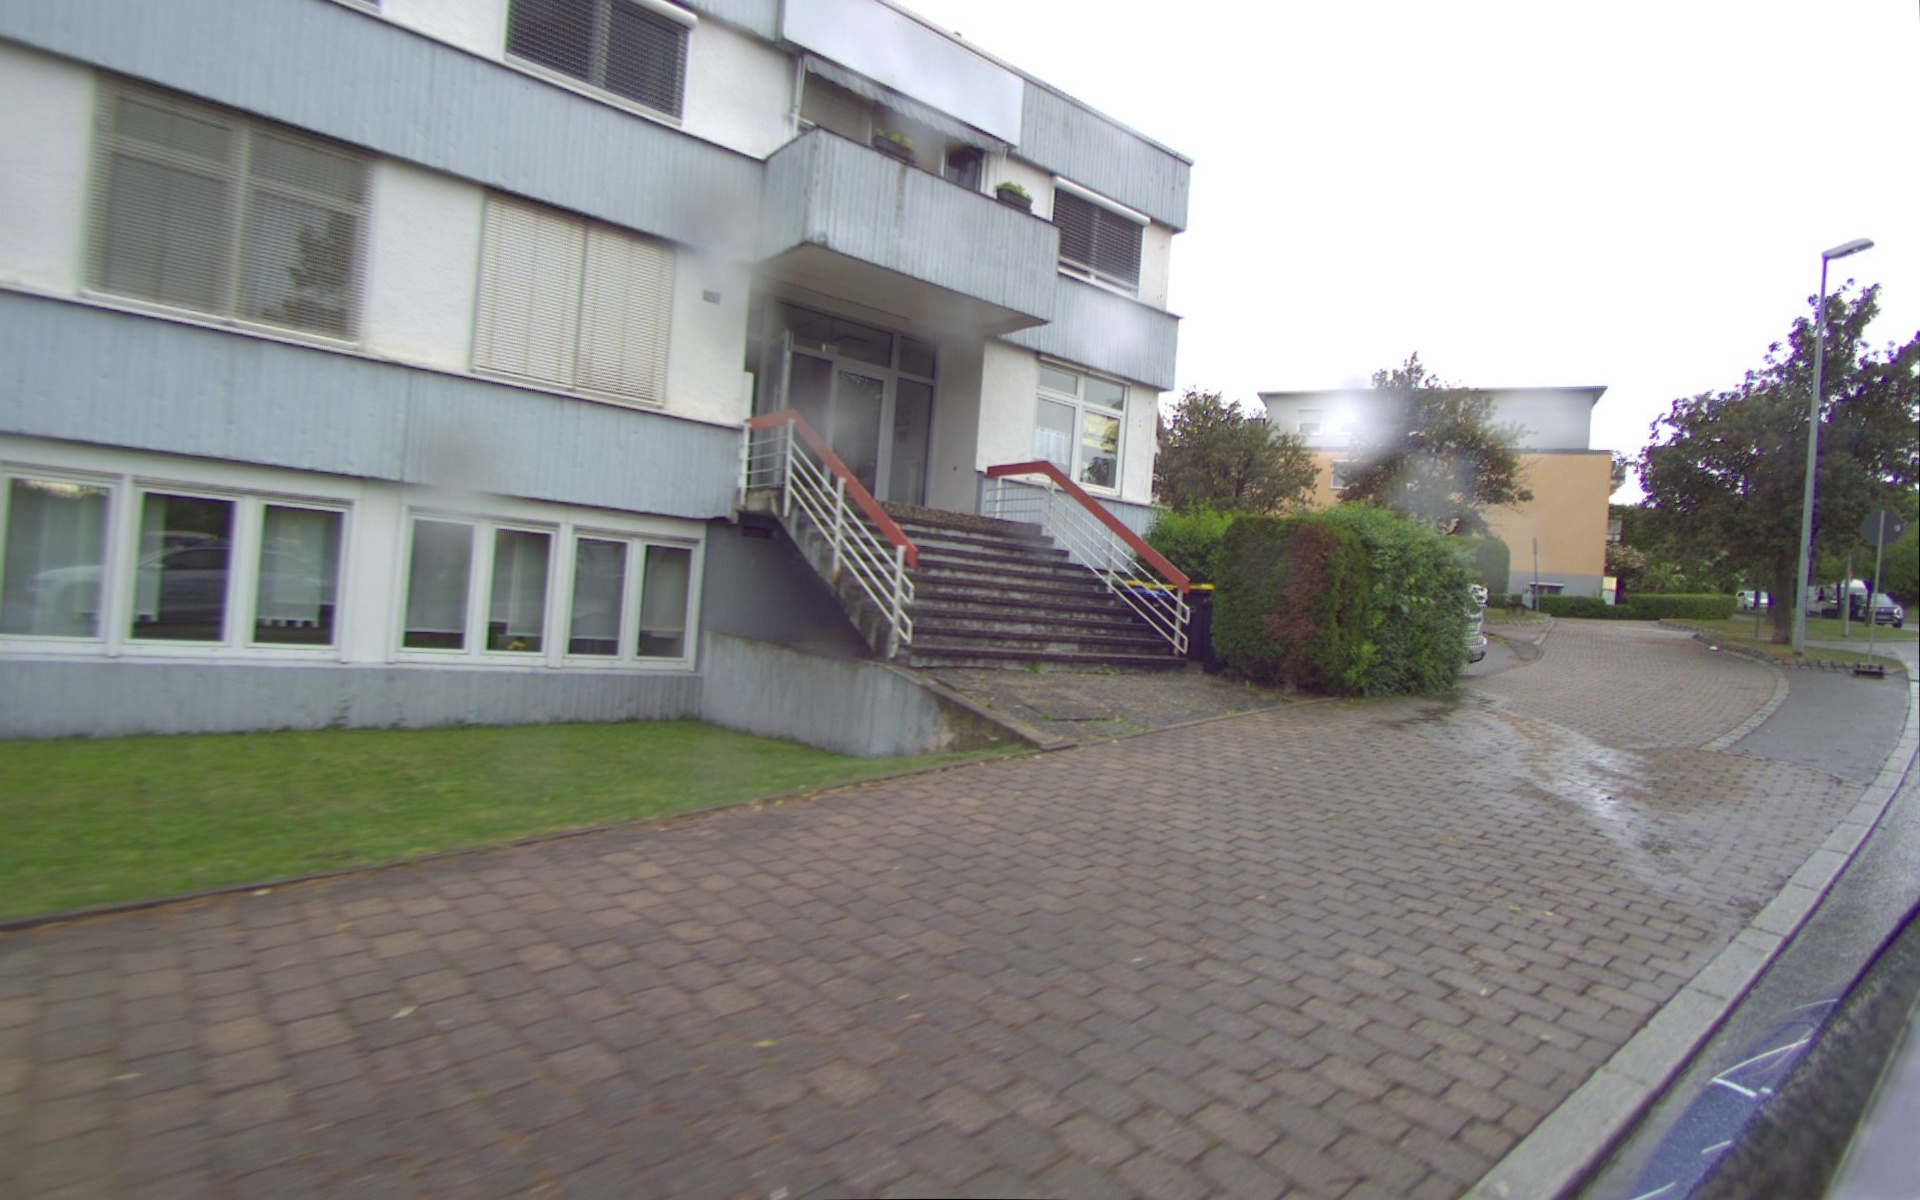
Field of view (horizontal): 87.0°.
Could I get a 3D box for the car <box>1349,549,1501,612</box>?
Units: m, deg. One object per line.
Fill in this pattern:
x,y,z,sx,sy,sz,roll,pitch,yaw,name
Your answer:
16.491,-0.742,35.948,4.676,1.836,1.927,5,4,30,car

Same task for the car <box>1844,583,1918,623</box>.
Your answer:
46.400,0.113,51.078,1.803,1.747,4.601,3,3,31,car

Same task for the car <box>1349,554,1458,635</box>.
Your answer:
10.775,-0.233,24.905,1.833,1.603,4.308,2,5,16,car

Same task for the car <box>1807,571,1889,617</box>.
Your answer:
49.286,-0.372,56.294,2.035,2.360,5.358,3,2,27,car

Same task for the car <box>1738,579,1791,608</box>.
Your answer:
55.579,-0.488,69.987,1.805,1.806,3.792,3,4,22,car

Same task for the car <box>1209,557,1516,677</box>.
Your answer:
6.480,0.159,16.706,1.826,1.604,4.322,-1,4,-41,car
